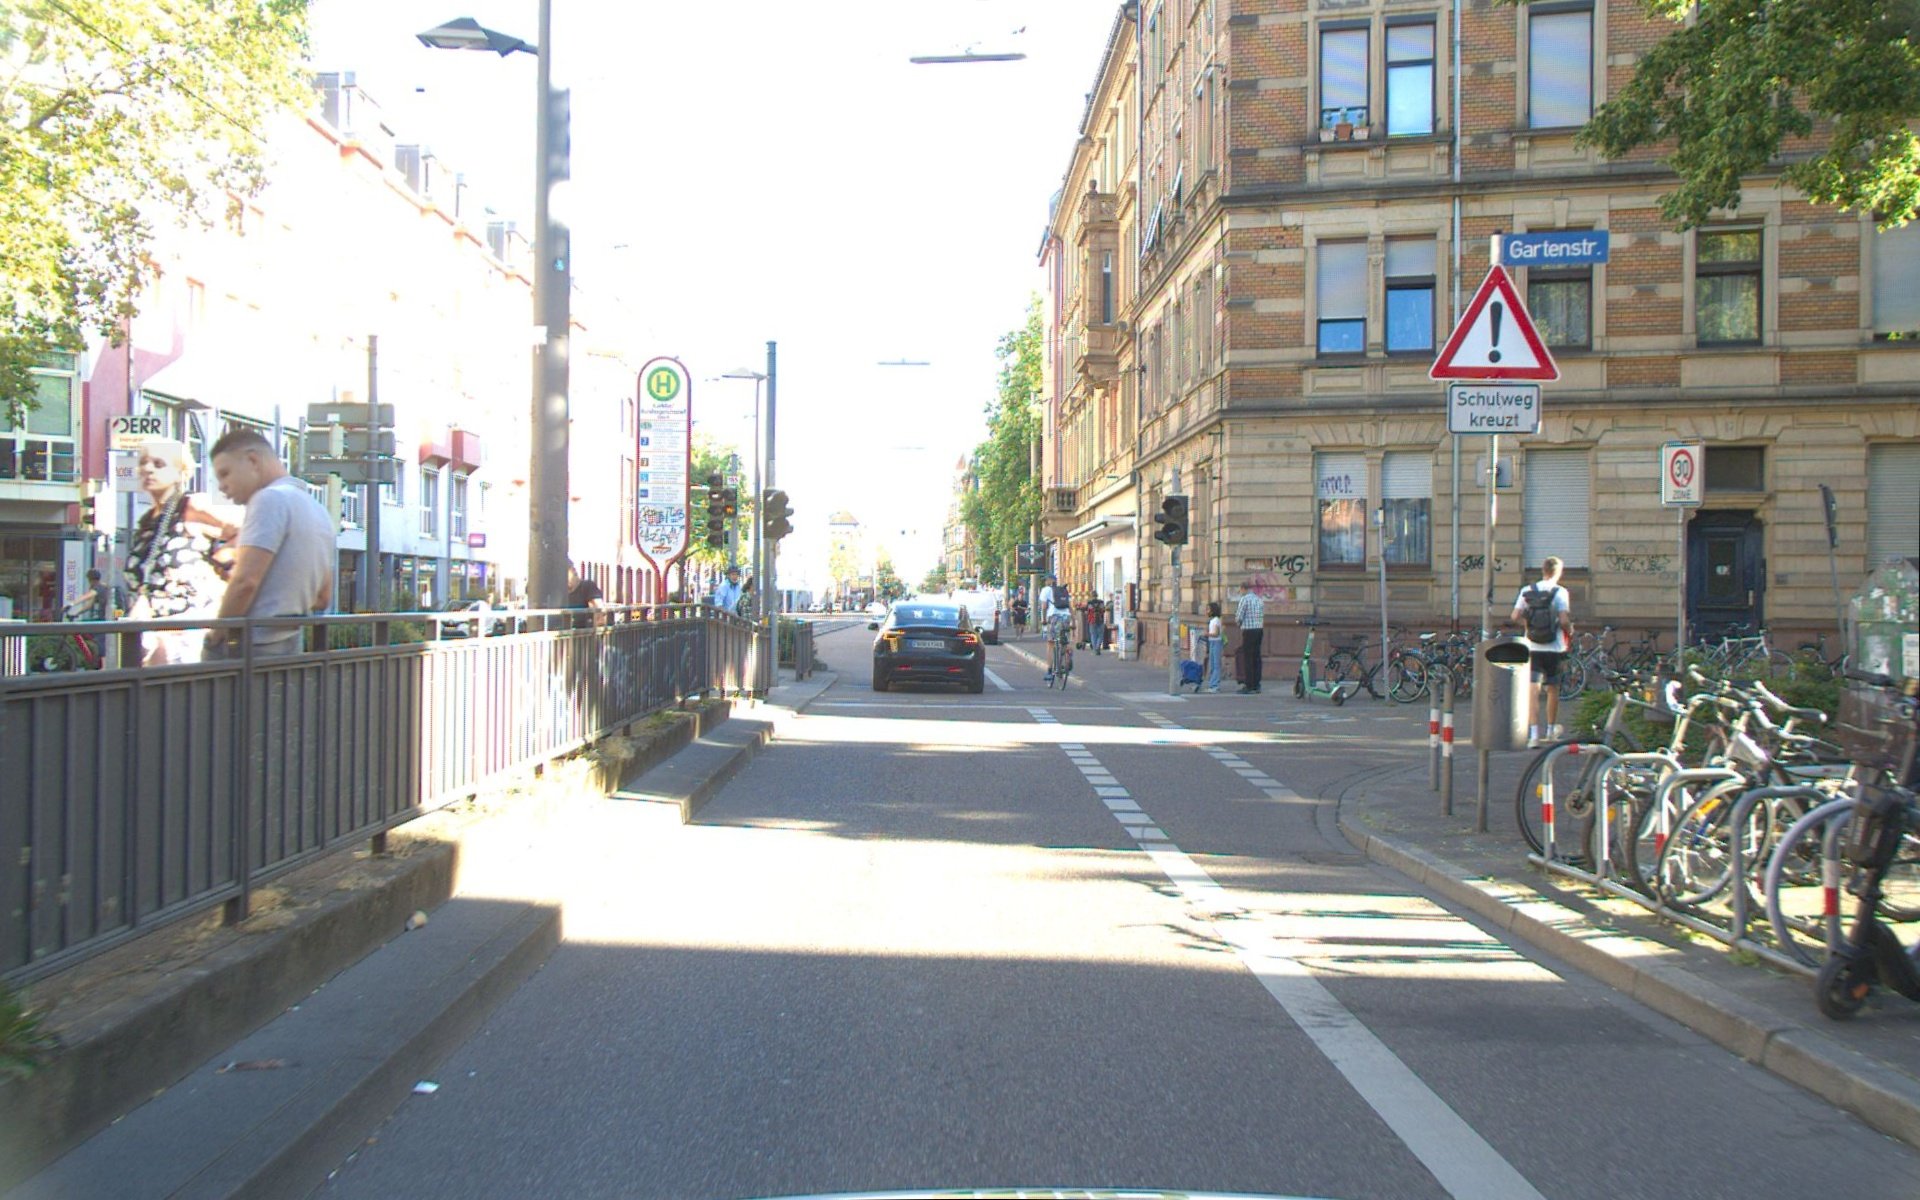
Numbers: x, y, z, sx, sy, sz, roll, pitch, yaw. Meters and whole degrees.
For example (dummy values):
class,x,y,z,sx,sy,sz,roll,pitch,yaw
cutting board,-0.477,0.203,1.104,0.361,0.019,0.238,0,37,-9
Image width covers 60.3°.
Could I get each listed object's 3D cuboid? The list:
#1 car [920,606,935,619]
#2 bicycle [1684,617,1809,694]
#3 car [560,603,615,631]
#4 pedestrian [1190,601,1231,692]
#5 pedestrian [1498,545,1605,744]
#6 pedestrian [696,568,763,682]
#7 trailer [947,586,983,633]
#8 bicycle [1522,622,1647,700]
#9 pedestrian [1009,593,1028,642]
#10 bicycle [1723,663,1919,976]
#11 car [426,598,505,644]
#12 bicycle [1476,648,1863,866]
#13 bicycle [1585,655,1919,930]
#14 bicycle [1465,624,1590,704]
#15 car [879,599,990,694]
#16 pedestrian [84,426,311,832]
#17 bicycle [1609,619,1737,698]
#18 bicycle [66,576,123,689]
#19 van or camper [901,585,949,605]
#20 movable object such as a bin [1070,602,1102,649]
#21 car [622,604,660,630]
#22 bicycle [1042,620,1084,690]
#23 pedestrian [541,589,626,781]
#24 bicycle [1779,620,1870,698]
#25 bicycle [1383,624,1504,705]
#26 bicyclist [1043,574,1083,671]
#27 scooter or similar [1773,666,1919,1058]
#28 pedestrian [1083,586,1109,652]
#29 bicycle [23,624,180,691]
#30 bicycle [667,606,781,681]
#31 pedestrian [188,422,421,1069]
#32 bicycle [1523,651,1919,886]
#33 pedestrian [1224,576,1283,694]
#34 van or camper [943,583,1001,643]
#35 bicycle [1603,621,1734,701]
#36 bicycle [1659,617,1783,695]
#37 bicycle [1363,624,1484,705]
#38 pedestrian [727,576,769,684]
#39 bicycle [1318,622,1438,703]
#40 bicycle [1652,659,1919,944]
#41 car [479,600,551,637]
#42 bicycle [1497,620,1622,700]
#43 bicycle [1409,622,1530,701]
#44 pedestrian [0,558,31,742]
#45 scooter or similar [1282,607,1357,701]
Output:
class,x,y,z,sx,sy,sz,roll,pitch,yaw
car,-3.570,1.355,183.410,1.561,1.458,3.685,0,-1,-1
bicycle,12.185,0.841,25.666,0.439,1.134,1.794,0,0,-33
car,-19.153,0.846,85.260,1.921,1.348,4.818,2,0,-2
pedestrian,4.035,0.739,26.671,0.562,1.439,0.581,2,0,2
pedestrian,6.205,0.455,17.392,0.702,2.019,0.942,1,0,-6
pedestrian,-3.842,0.420,27.594,0.582,1.853,0.940,2,0,31
trailer,0.228,0.459,79.460,1.627,2.154,3.842,2,-1,0
bicycle,9.486,0.908,25.155,0.440,1.134,1.787,0,0,-42
pedestrian,2.201,0.662,62.621,0.659,1.846,0.755,0,-1,-3
bicycle,4.033,0.818,6.423,1.907,1.126,0.564,0,0,-3
car,-18.397,0.762,61.724,1.879,1.642,4.366,0,0,-4
bicycle,3.875,0.841,9.095,1.907,1.126,0.564,0,0,-3
bicycle,3.970,0.864,7.690,1.907,1.186,0.627,0,0,-3
bicycle,8.474,0.934,24.753,0.440,1.134,1.787,0,0,-42
car,-0.466,0.717,27.491,1.685,1.430,3.708,2,0,-2
pedestrian,-3.438,0.128,7.500,0.747,1.765,0.589,0,0,-2
bicycle,10.807,0.874,25.112,0.440,1.134,1.787,0,0,-42
bicycle,-13.659,0.504,26.109,0.635,1.746,0.581,0,0,38
van or camper,-5.101,-0.715,239.499,6.781,2.700,2.127,-1,1,-29
movable object such as a bin,3.725,0.742,48.931,0.760,1.371,1.298,0,-1,-3
car,-19.341,1.016,100.375,1.626,1.447,3.619,2,0,-2
bicycle,1.808,0.945,29.224,0.634,1.159,2.096,1,0,1
pedestrian,-2.703,0.597,11.880,0.470,1.352,0.354,0,0,28
bicycle,13.272,0.880,25.445,0.434,1.134,1.814,0,0,-1
bicycle,7.206,0.944,24.715,0.440,1.134,1.787,0,0,-42
bicyclist,1.818,0.389,29.276,0.641,1.685,0.927,1,-1,1
scooter or similar,3.712,0.860,5.758,1.448,1.251,0.591,-2,0,-1
pedestrian,3.675,0.504,44.610,0.461,1.759,0.586,0,1,34
bicycle,-13.576,0.892,26.213,0.635,0.983,2.160,0,0,37
bicycle,-3.959,0.717,27.655,1.904,1.113,0.597,3,0,32
pedestrian,-2.322,0.485,5.936,0.527,2.157,0.807,0,0,-2
bicycle,3.921,0.837,8.449,1.907,1.126,0.564,0,0,-3
pedestrian,4.662,0.536,26.321,0.829,1.839,0.876,0,1,3
van or camper,0.388,0.509,61.835,1.892,2.072,5.473,2,-1,-2
bicycle,10.559,0.891,24.684,0.440,1.134,1.787,0,0,-42
bicycle,11.688,0.839,25.464,0.439,1.134,1.794,0,0,-33
bicycle,6.827,0.928,24.439,0.440,1.134,1.787,0,0,-41
pedestrian,-3.274,0.453,25.480,0.508,1.618,0.665,4,-1,-11
bicycle,6.166,0.906,24.468,0.440,1.134,1.787,0,0,-41
bicycle,4.005,0.825,7.036,1.907,1.126,0.564,0,0,-3
car,-18.547,0.743,69.173,1.863,1.483,4.824,0,0,-2
bicycle,9.008,0.886,24.912,0.440,1.134,1.787,0,0,-42
bicycle,7.661,0.906,24.926,0.440,1.134,1.787,0,0,-42
pedestrian,-9.194,0.457,15.231,0.682,1.697,1.033,0,0,-1
scooter or similar,5.198,0.759,23.965,0.384,1.312,1.515,0,0,-17
